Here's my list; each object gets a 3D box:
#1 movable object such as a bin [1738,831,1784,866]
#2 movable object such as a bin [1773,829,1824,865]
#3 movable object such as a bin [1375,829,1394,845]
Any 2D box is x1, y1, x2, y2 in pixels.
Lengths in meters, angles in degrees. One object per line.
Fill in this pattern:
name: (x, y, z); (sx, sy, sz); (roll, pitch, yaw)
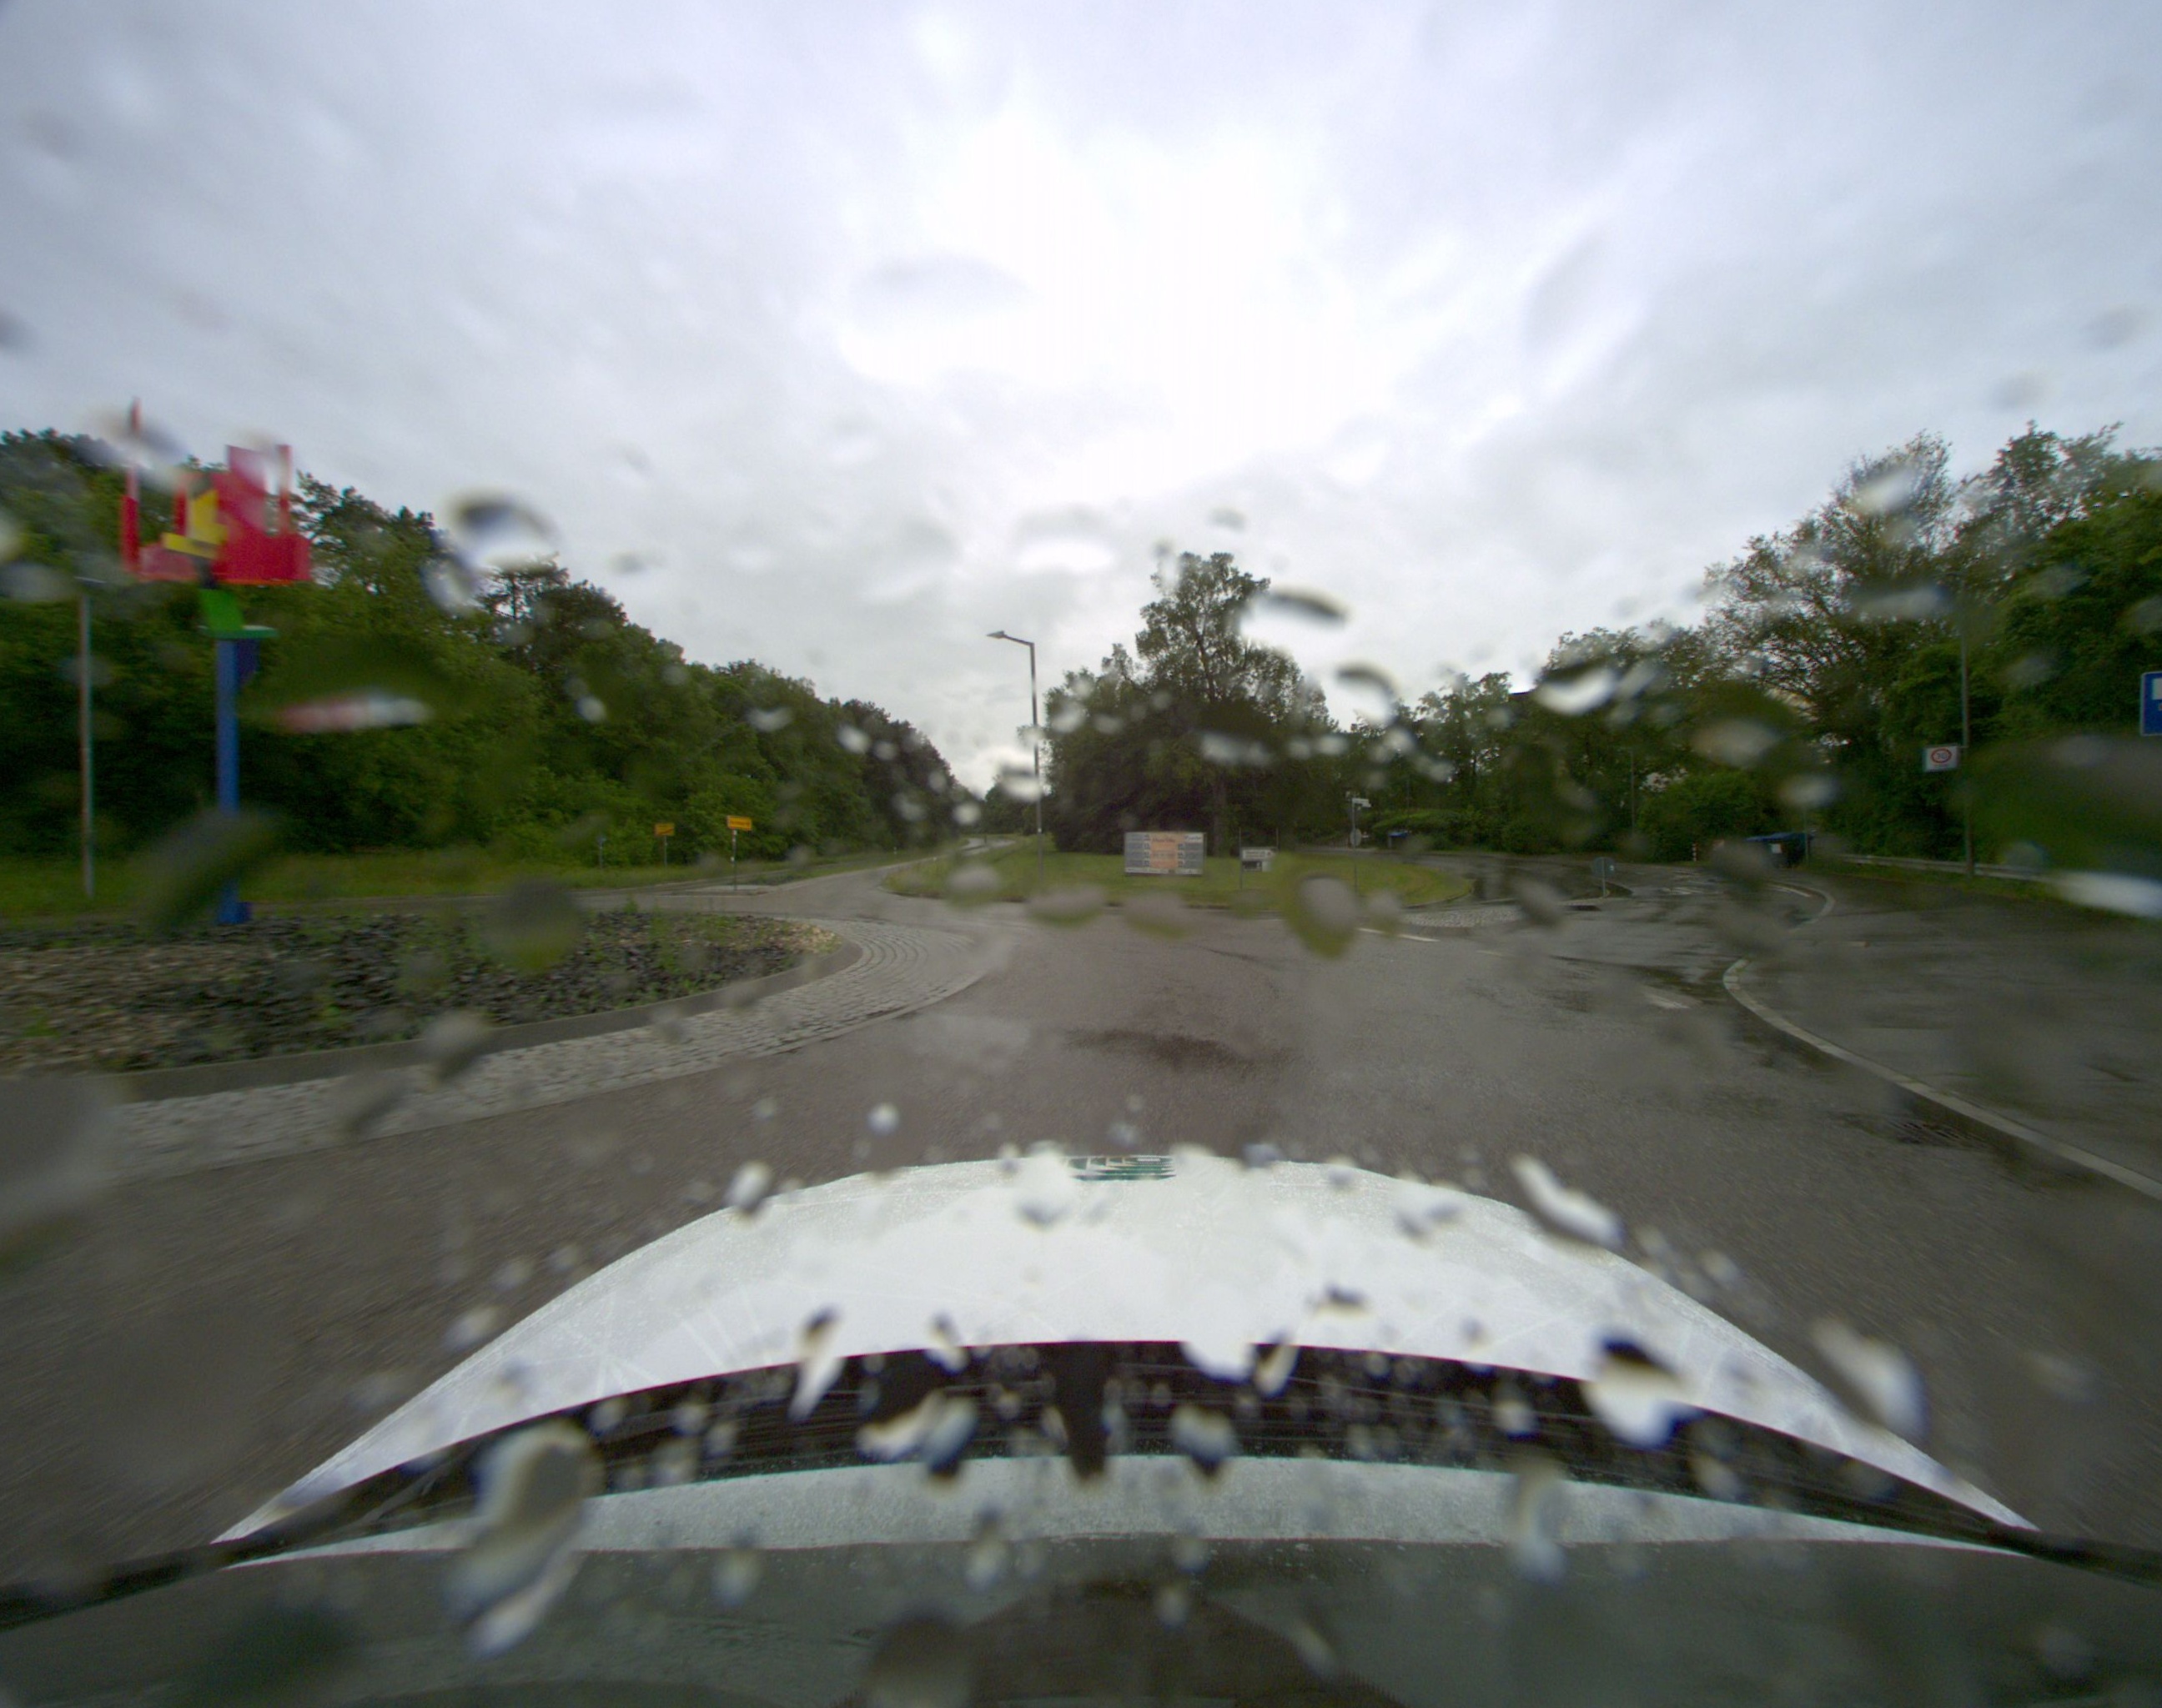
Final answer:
movable object such as a bin: (29.025, -0.222, 34.786); (1.184, 1.437, 1.080); (-1, 0, 20)
movable object such as a bin: (28.999, -0.281, 32.931); (1.184, 1.342, 1.080); (-4, -1, 20)
movable object such as a bin: (26.449, -1.471, 70.951); (1.188, 1.437, 1.430); (-1, 1, 5)
